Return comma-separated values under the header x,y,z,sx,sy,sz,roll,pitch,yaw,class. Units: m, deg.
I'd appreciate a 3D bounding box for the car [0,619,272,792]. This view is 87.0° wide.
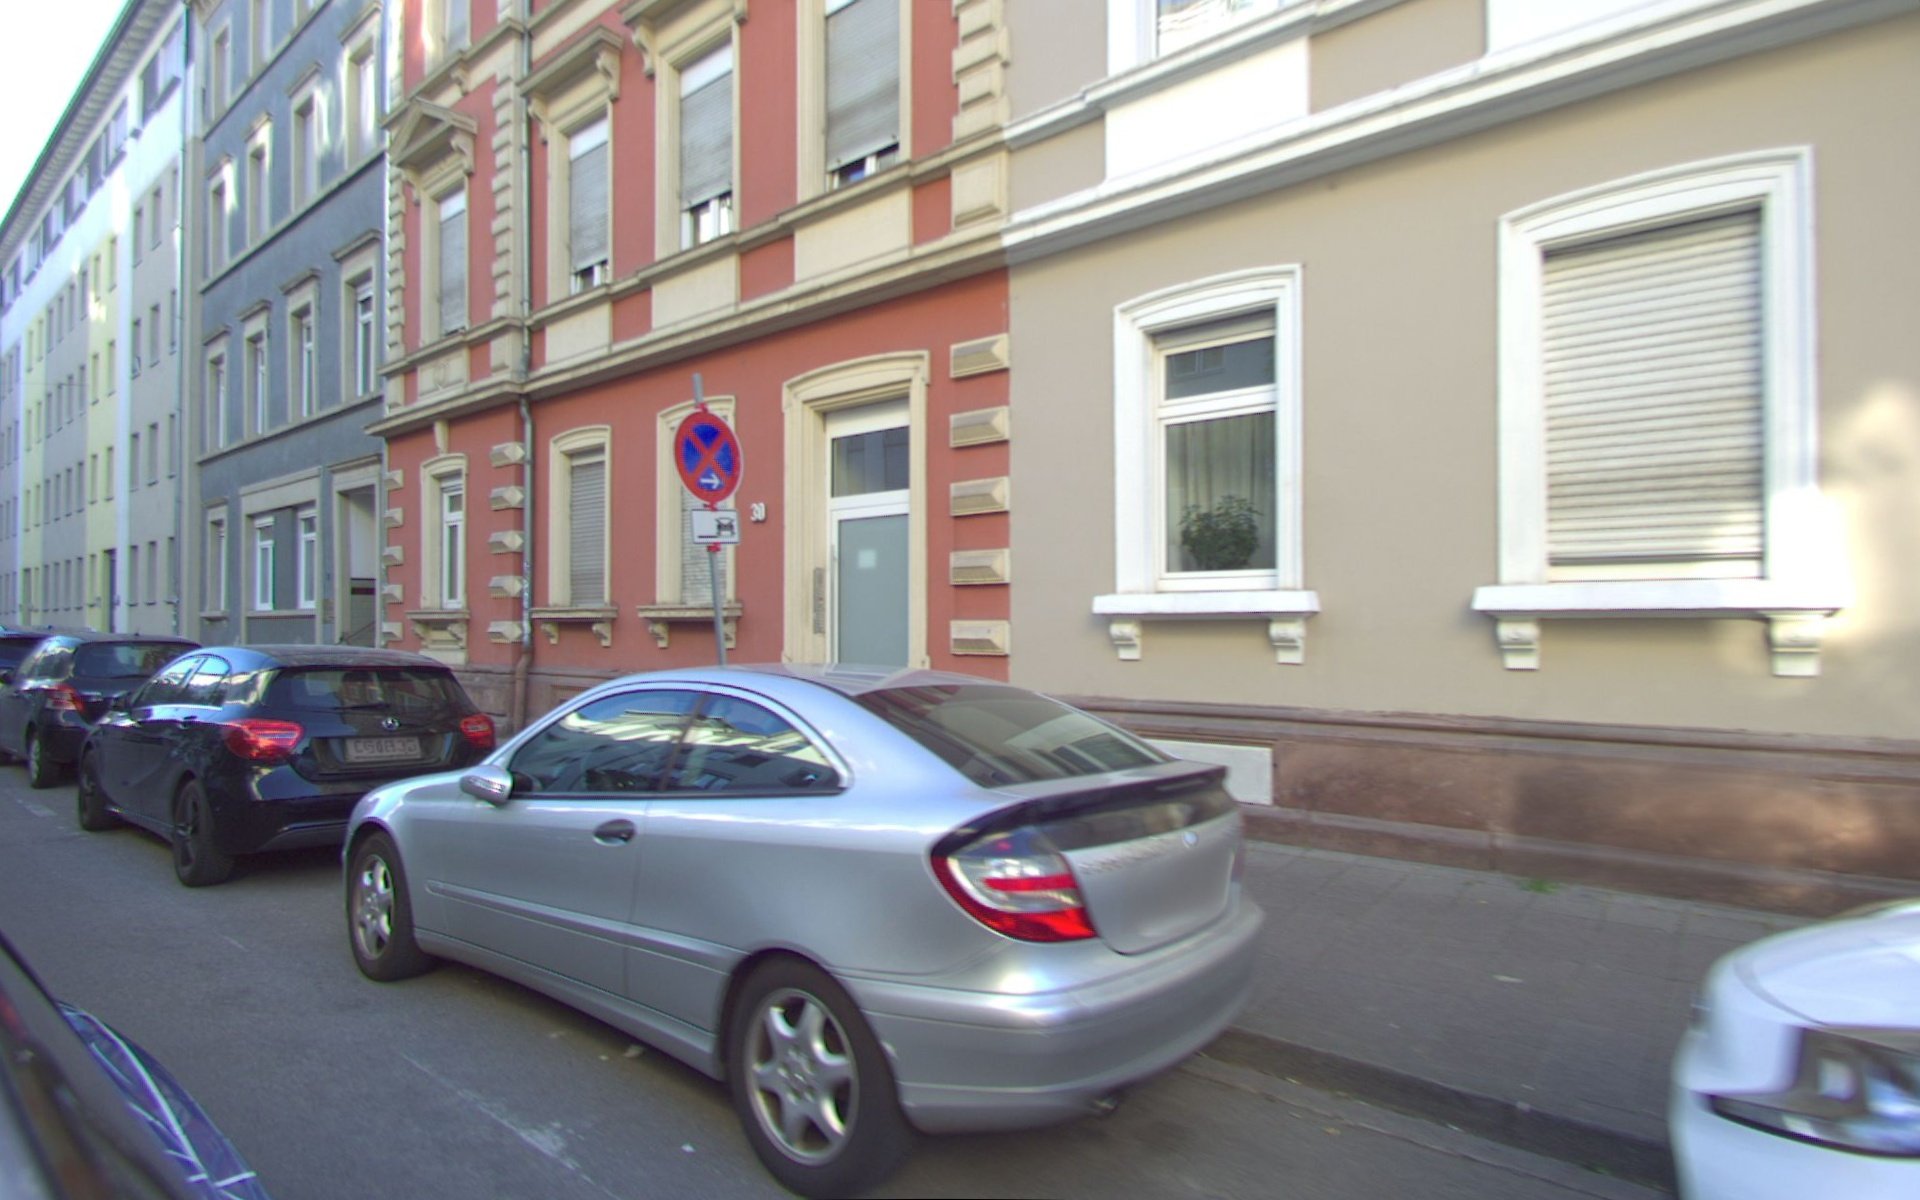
x,y,z,sx,sy,sz,roll,pitch,yaw,class
-9.572,1.076,11.346,4.236,1.572,1.882,-2,-5,39,car

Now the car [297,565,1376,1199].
x,y,z,sx,sy,sz,roll,pitch,yaw,class
-0.806,0.827,4.114,4.262,1.572,1.902,-2,-5,39,car

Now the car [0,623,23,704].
x,y,z,sx,sy,sz,roll,pitch,yaw,class
-21.876,1.331,21.715,4.464,1.676,1.902,-2,-5,39,car

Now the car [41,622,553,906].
x,y,z,sx,sy,sz,roll,pitch,yaw,class
-5.031,0.978,7.469,4.262,1.495,1.902,-2,-5,39,car

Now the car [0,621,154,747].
x,y,z,sx,sy,sz,roll,pitch,yaw,class
-13.289,1.135,14.408,4.262,1.572,1.902,-2,-5,39,car

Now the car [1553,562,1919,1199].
x,y,z,sx,sy,sz,roll,pitch,yaw,class
3.028,0.716,0.698,4.263,1.519,1.901,-2,-5,40,car

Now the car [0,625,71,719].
x,y,z,sx,sy,sz,roll,pitch,yaw,class
-17.778,1.255,18.235,4.262,1.572,1.902,-2,-5,39,car
